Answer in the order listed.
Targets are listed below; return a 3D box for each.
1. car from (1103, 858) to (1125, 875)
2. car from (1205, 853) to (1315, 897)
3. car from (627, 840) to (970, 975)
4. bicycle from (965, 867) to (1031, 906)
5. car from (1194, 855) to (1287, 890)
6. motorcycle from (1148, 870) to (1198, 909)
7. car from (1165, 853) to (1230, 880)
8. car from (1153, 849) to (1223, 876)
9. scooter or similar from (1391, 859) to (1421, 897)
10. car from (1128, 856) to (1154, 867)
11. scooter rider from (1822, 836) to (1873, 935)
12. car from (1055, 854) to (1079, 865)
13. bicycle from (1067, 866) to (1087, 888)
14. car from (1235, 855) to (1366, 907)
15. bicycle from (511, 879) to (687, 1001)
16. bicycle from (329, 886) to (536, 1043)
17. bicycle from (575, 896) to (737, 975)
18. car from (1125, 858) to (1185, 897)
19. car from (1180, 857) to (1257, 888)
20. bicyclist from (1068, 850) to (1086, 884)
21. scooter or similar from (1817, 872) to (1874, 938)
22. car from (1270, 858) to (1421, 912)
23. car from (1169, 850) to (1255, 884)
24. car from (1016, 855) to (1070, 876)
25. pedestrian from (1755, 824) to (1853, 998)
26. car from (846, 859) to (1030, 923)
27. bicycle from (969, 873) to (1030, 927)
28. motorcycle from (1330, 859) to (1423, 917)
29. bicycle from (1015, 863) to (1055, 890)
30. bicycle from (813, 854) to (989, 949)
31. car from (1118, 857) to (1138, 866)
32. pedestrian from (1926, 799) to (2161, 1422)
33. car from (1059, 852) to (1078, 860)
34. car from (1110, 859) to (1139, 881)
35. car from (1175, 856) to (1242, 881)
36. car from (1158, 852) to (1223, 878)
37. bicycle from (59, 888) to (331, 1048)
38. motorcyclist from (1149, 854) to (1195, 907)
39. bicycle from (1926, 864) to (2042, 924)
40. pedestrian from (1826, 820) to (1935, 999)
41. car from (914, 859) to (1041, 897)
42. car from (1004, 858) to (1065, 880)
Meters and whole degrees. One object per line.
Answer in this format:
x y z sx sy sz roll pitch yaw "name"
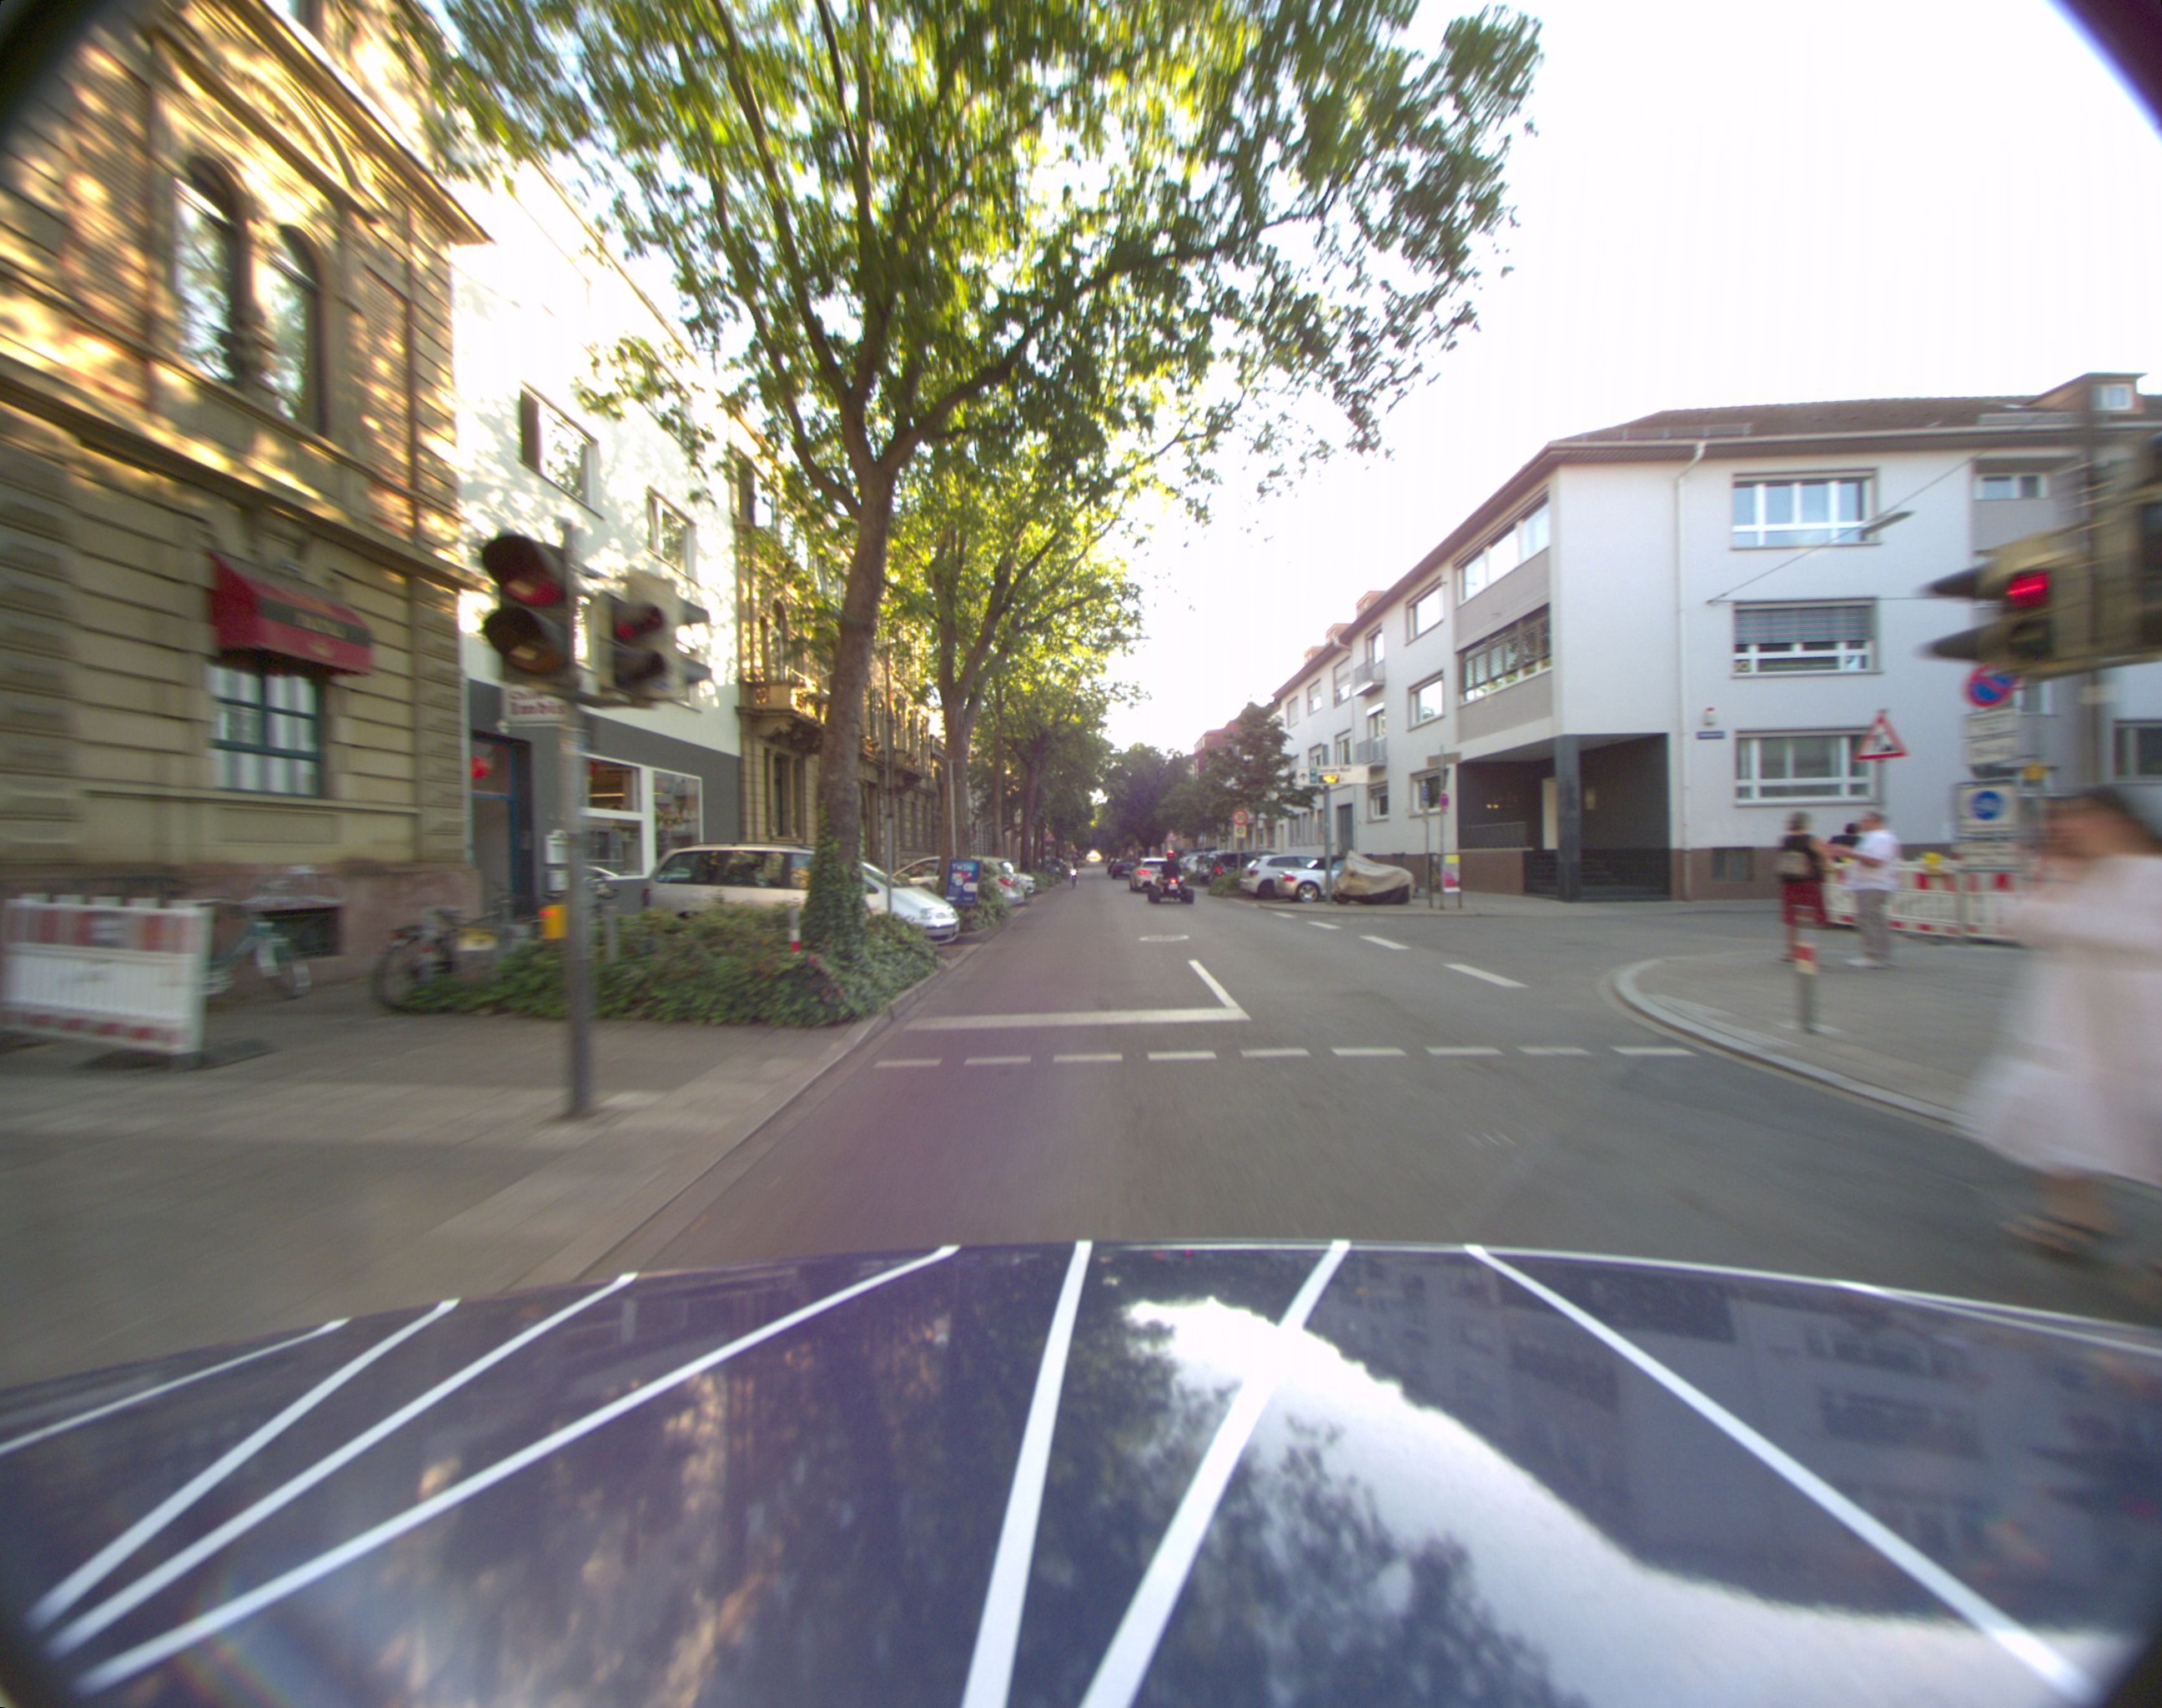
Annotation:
3.100 1.177 72.563 1.882 1.631 4.646 0 0 0 "car"
7.299 0.840 31.305 4.103 1.622 1.936 -2 0 2 "car"
-4.120 0.756 11.706 4.552 1.903 1.950 0 0 -2 "car"
-2.622 1.019 23.996 2.027 1.197 0.488 1 0 -12 "bicycle"
7.666 0.872 36.751 4.085 1.432 1.755 -3 0 2 "car"
2.841 1.081 23.814 1.315 1.084 2.396 1 0 1 "motorcycle"
7.968 0.845 52.179 4.165 1.582 1.824 -4 0 1 "car"
8.075 0.654 57.855 5.003 1.979 2.190 -1 0 0 "car"
11.279 0.826 26.432 0.516 1.254 1.421 -2 1 5 "scooter or similar"
8.550 1.049 108.876 3.497 1.397 1.673 -3 0 -2 "car"
14.198 0.560 14.072 0.876 1.781 0.494 -1 0 -34 "scooter rider"
-2.151 0.849 116.061 3.552 1.411 1.590 -3 0 -2 "car"
-0.176 1.108 36.880 0.778 0.967 2.025 -1 0 4 "bicycle"
7.117 0.861 24.896 3.751 1.450 1.735 -3 0 0 "car"
-5.717 0.953 9.203 0.582 1.232 2.161 -1 0 5 "bicycle"
-5.987 0.950 7.152 0.386 1.228 1.726 0 0 3 "bicycle"
-4.954 0.916 9.085 0.582 0.661 2.329 -2 0 1 "bicycle"
3.086 0.943 32.574 1.882 1.540 4.273 0 0 -4 "car"
7.637 1.018 42.472 4.038 1.485 1.781 -3 0 4 "car"
-0.187 0.628 36.896 0.753 1.612 1.147 -2 0 4 "bicyclist"
14.225 0.924 14.128 1.252 1.138 0.502 -1 1 -34 "scooter or similar"
7.584 0.876 22.104 3.748 1.303 1.845 -3 0 5 "car"
7.655 0.761 44.879 4.677 1.755 2.157 -2 0 0 "car"
-3.168 0.933 64.646 4.451 1.708 1.968 0 1 1 "car"
7.978 0.609 8.402 0.555 1.839 0.612 -1 0 15 "pedestrian"
-3.527 0.905 19.311 4.234 1.551 1.971 0 -1 4 "car"
-1.865 1.047 17.463 1.340 1.197 0.488 0 0 0 "bicycle"
7.448 0.829 19.195 2.150 1.411 0.969 0 1 22 "motorcycle"
-2.465 1.213 40.533 2.051 1.352 0.508 -2 0 -1 "bicycle"
-3.363 0.879 14.370 3.122 1.653 0.658 -2 0 -3 "bicycle"
8.415 1.295 136.041 3.552 1.411 1.591 -3 0 1 "car"
3.592 0.769 2.500 0.771 1.877 0.792 -1 0 -11 "pedestrian"
-2.508 0.415 152.811 3.552 1.411 1.591 -3 0 1 "car"
3.124 1.141 55.520 1.881 1.540 4.275 2 0 1 "car"
7.934 0.904 47.513 3.855 1.442 1.855 -2 -1 1 "car"
7.914 0.799 55.111 4.365 1.563 1.931 -4 0 1 "car"
-7.927 0.946 6.928 0.386 1.204 1.726 0 0 3 "bicycle"
2.837 0.816 23.800 1.283 1.582 1.077 -1 0 1 "motorcyclist"
19.359 0.837 16.285 2.238 1.138 0.723 -2 1 -15 "bicycle"
8.566 0.572 8.167 0.555 1.839 0.612 -1 0 15 "pedestrian"
-3.954 0.915 29.598 4.594 1.429 1.926 -1 0 3 "car"
-3.365 1.072 55.587 4.234 1.472 1.855 2 0 1 "car"
